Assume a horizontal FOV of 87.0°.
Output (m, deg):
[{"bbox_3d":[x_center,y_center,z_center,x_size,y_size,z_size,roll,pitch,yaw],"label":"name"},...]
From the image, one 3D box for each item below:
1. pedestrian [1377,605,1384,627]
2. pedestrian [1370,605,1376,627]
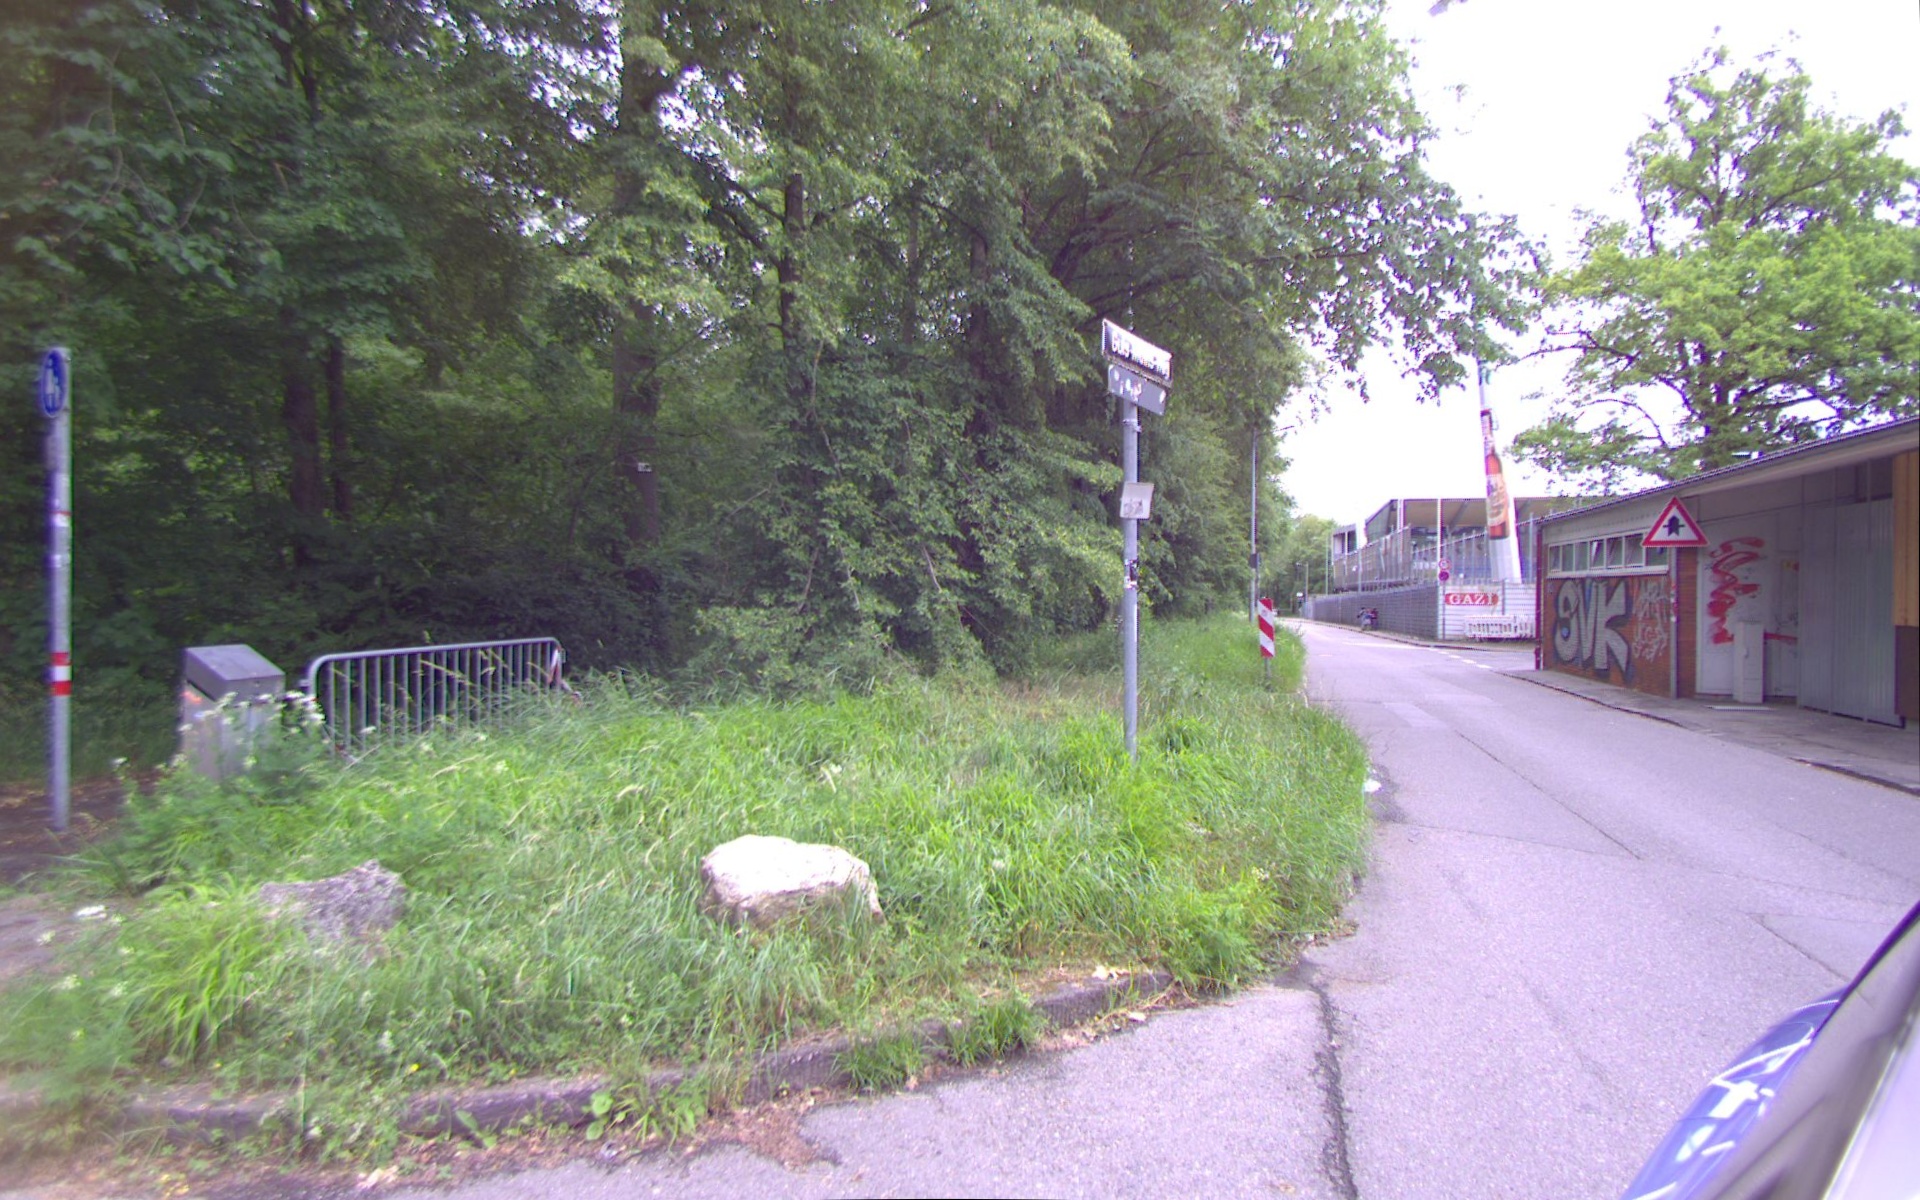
[{"bbox_3d":[26.356,0.990,63.428,0.372,1.404,0.403,0,-1,21],"label":"pedestrian"},{"bbox_3d":[25.877,0.993,63.435,0.368,1.404,0.374,0,-1,21],"label":"pedestrian"}]
